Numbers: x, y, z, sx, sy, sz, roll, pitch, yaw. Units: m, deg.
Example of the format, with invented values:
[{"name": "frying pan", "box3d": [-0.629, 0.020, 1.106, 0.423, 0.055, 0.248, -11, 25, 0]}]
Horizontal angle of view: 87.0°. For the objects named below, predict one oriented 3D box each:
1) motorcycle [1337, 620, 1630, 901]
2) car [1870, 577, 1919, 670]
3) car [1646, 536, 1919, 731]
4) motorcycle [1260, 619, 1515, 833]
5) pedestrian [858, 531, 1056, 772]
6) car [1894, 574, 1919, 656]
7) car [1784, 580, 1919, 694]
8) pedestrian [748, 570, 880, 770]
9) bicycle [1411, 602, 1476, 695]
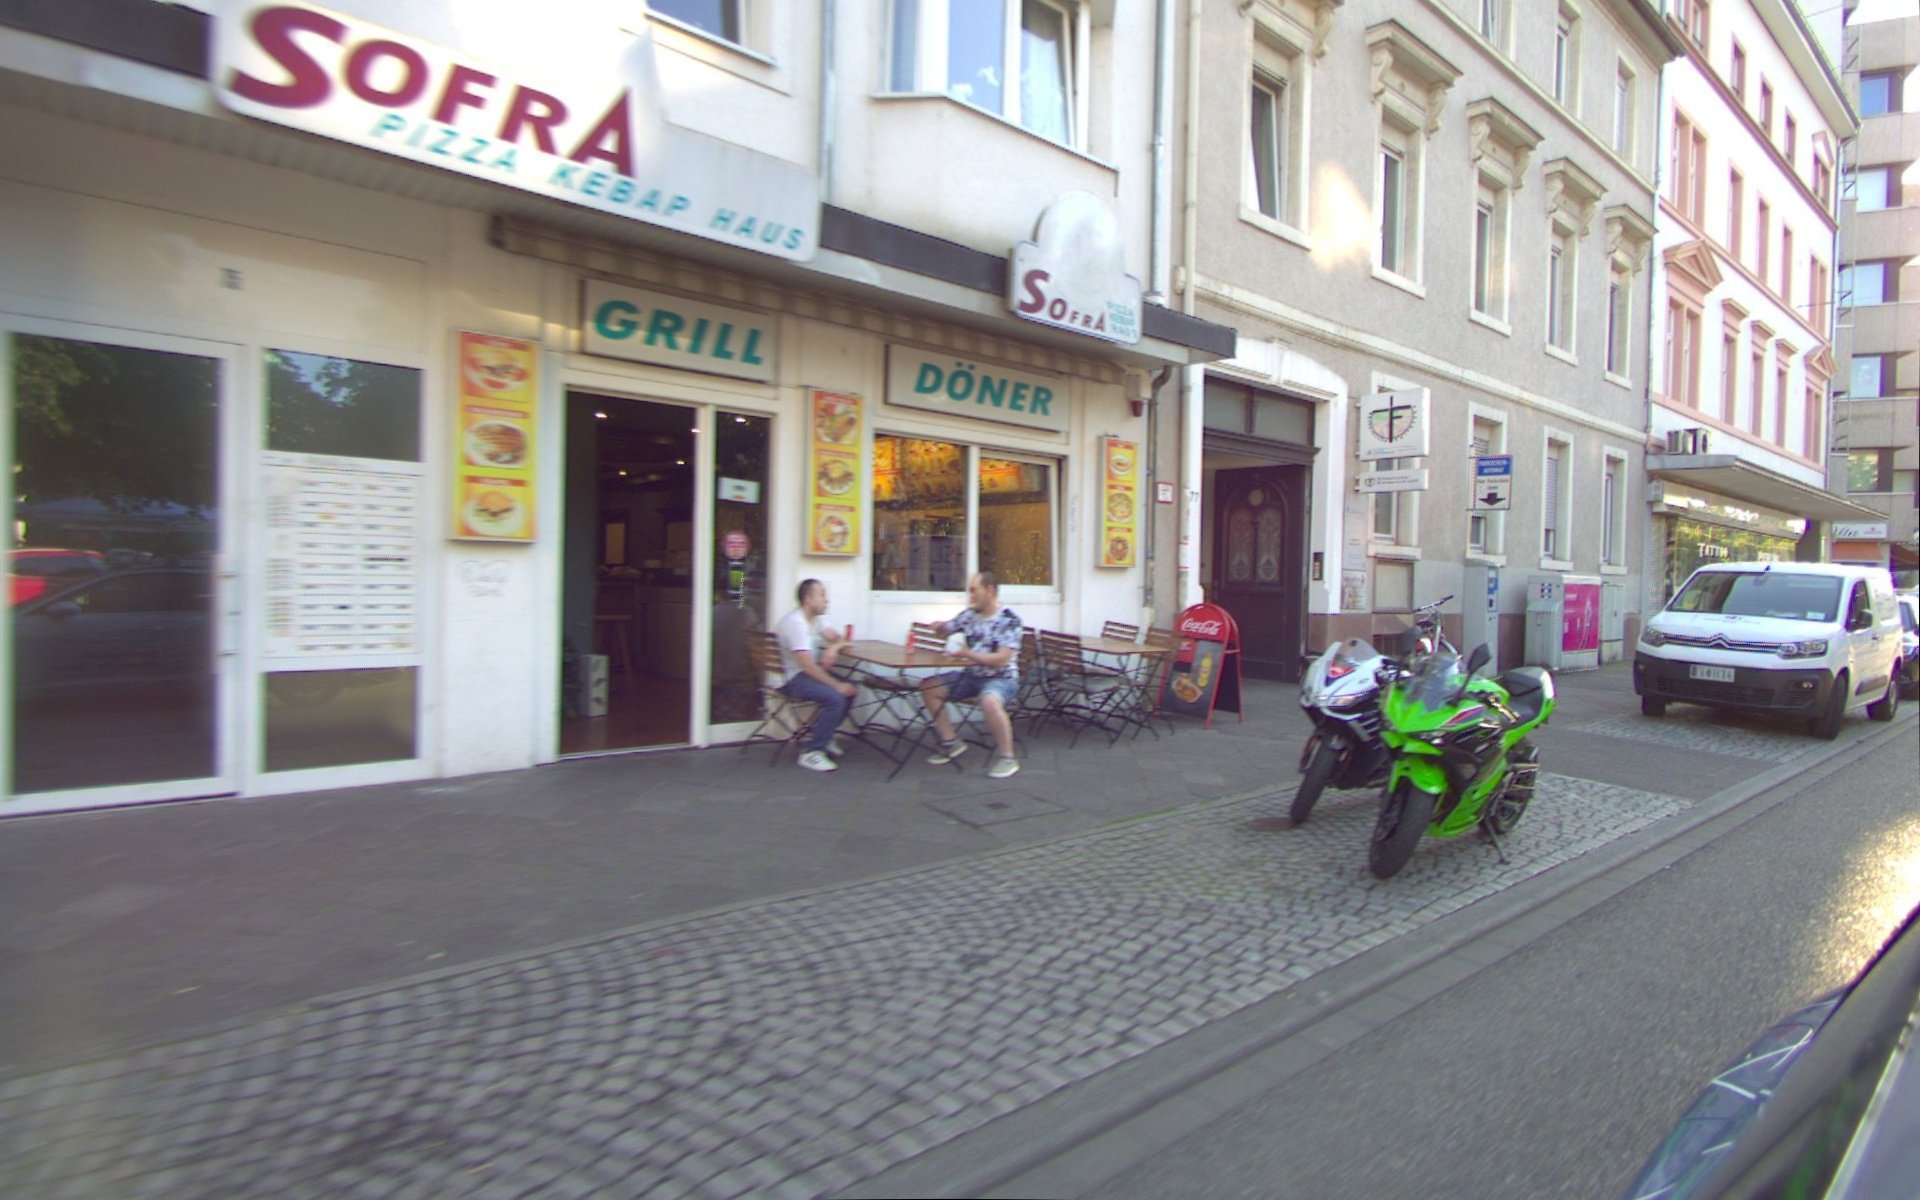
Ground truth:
[{"name": "motorcycle", "box3d": [2.906, 0.743, 5.488, 2.171, 1.215, 0.589, 1, 3, -41]}, {"name": "car", "box3d": [19.034, 0.435, 19.577, 4.036, 1.686, 1.659, 0, 0, -41]}, {"name": "car", "box3d": [9.634, 0.325, 11.690, 4.228, 1.858, 1.713, 1, 0, -39]}, {"name": "motorcycle", "box3d": [2.793, 0.707, 6.465, 2.171, 1.137, 0.589, 1, 0, -41]}, {"name": "pedestrian", "box3d": [-0.024, 0.319, 6.994, 0.975, 1.505, 0.957, 1, 0, -40]}, {"name": "car", "box3d": [23.091, 0.337, 23.326, 4.019, 1.814, 1.796, 0, 1, -40]}, {"name": "car", "box3d": [14.244, 0.514, 15.650, 3.814, 1.564, 1.670, 1, 0, -41]}, {"name": "pedestrian", "box3d": [-0.995, 0.446, 6.827, 0.774, 1.234, 0.745, 3, 2, -10]}, {"name": "bicycle", "box3d": [5.985, 0.560, 12.490, 0.453, 1.024, 1.691, 0, 1, 35]}]
